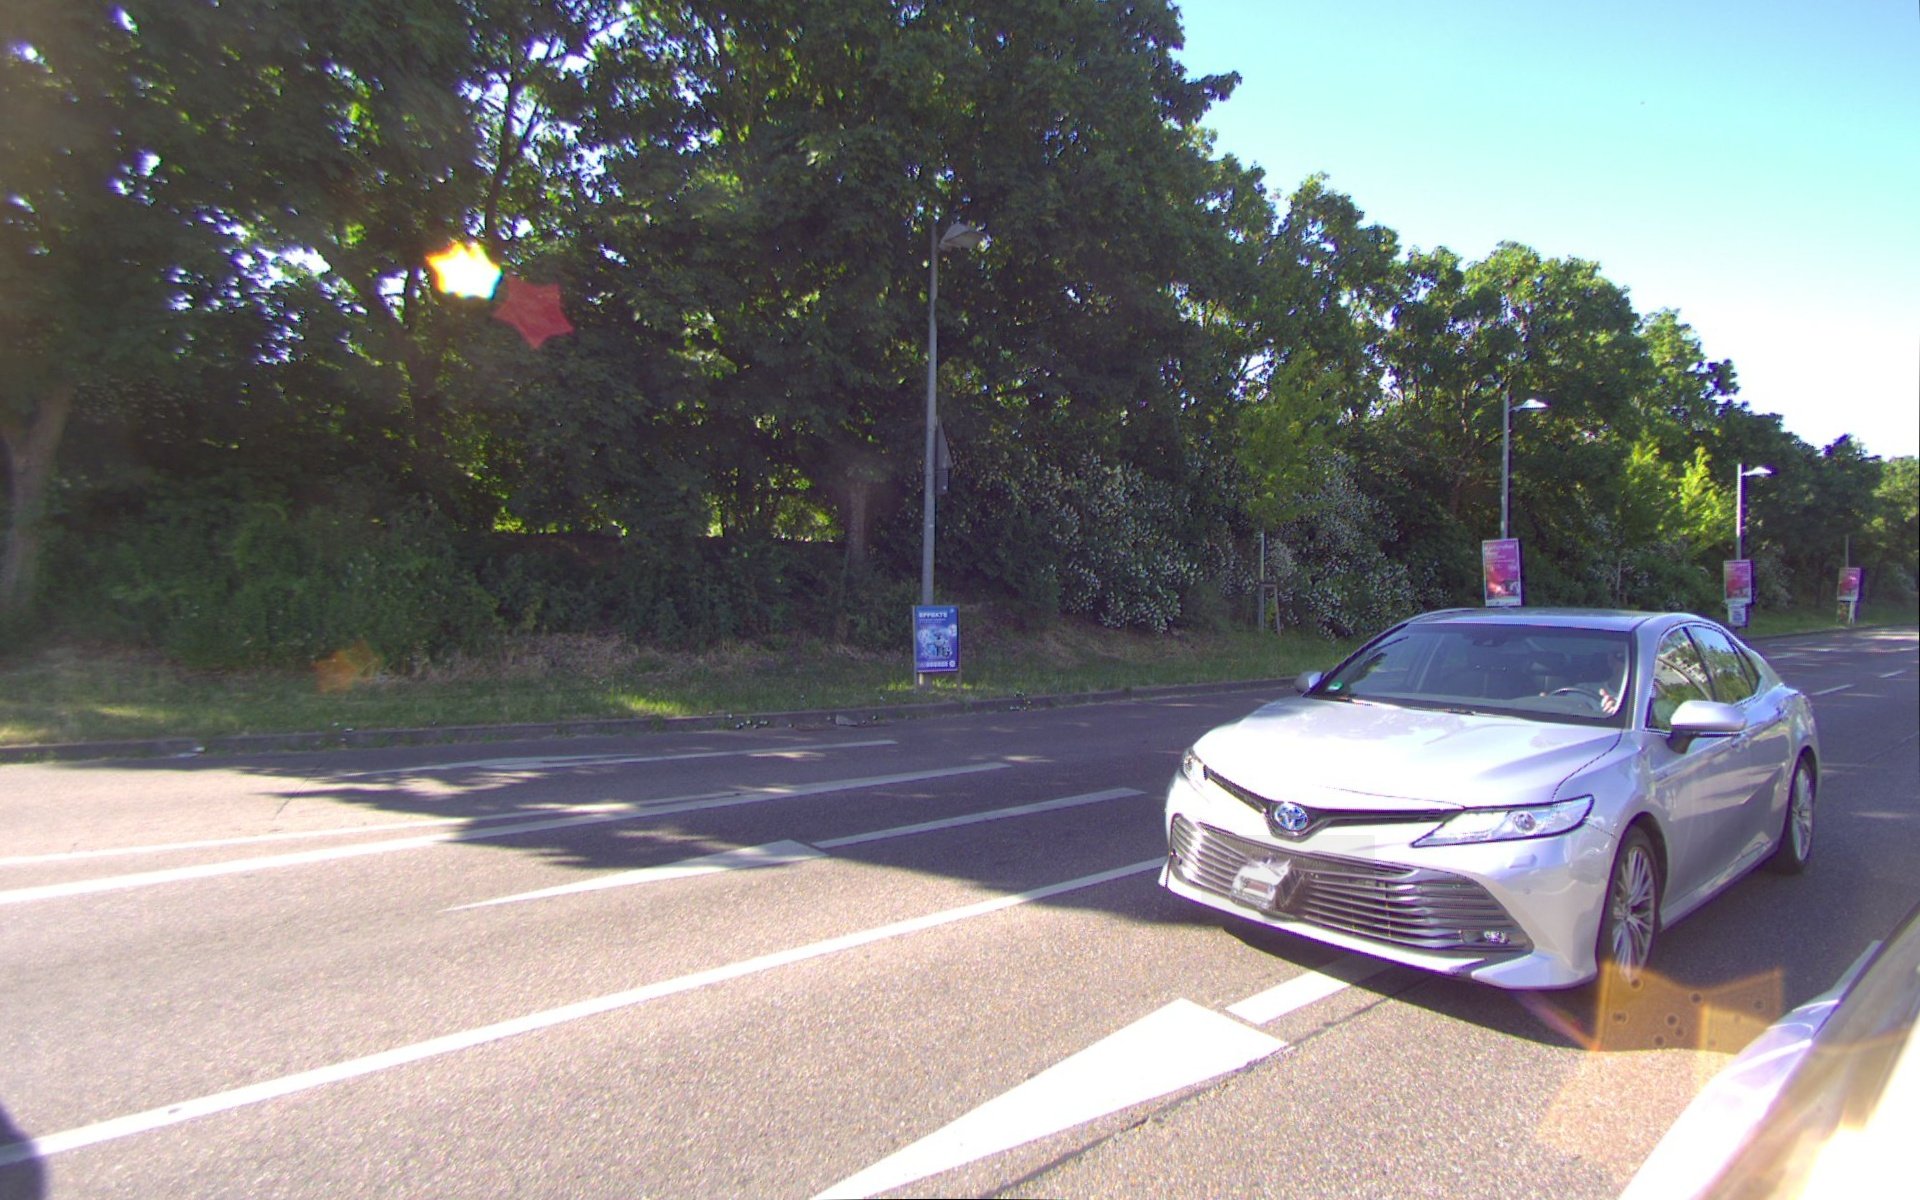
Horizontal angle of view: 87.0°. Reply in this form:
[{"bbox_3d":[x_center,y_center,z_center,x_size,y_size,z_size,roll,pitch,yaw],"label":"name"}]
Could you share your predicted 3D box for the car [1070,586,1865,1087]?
[{"bbox_3d":[2.955,0.698,5.358,4.664,1.477,2.069,0,2,-40],"label":"car"}]
